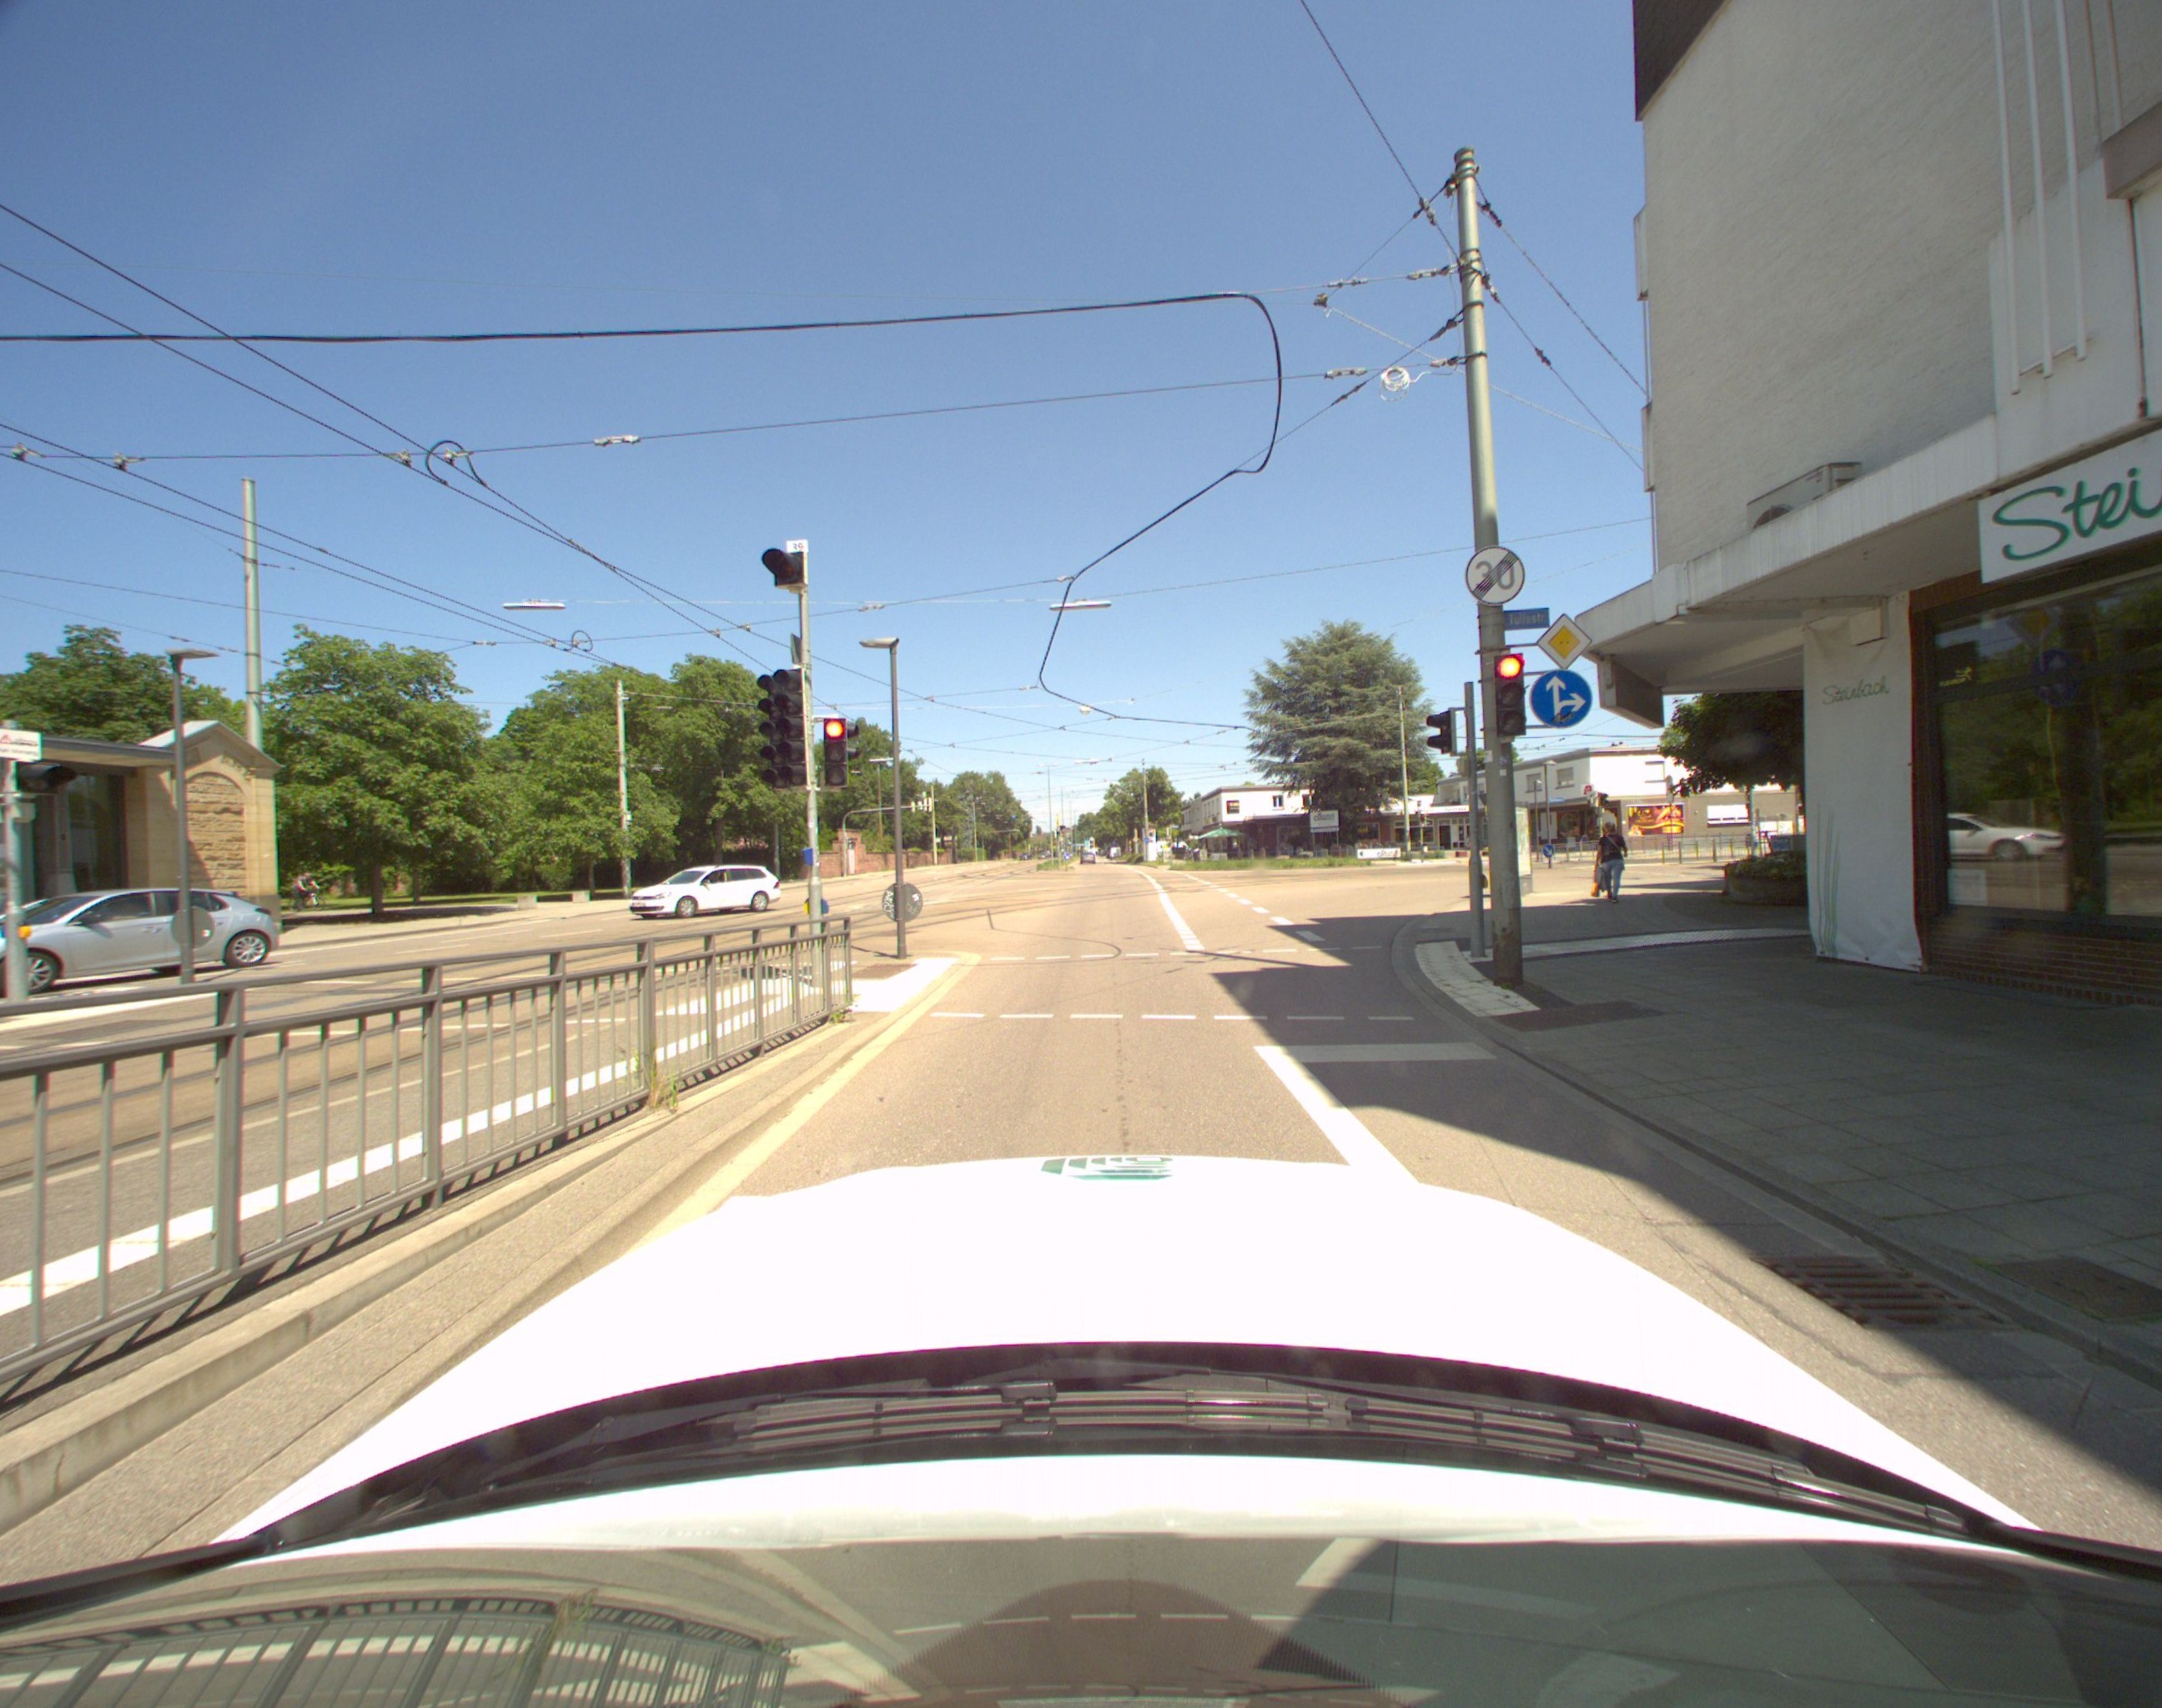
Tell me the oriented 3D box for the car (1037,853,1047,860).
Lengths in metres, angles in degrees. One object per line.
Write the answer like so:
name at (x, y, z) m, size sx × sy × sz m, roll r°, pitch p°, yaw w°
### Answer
car at (-8.525, 0.476, 177.567) m, size 1.634 × 1.421 × 4.171 m, roll -2°, pitch 0°, yaw 3°

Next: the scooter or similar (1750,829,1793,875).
scooter or similar at (18.735, -0.064, 22.089) m, size 1.258 × 1.212 × 0.391 m, roll -2°, pitch 0°, yaw -26°

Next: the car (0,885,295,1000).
car at (-15.103, 1.279, 12.491) m, size 1.807 × 1.362 × 4.061 m, roll -2°, pitch 0°, yaw 9°

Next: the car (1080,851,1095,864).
car at (0.775, 0.397, 96.418) m, size 1.632 × 1.351 × 3.839 m, roll -2°, pitch 0°, yaw -2°

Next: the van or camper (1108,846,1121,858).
van or camper at (5.376, -0.338, 130.468) m, size 1.915 × 1.772 × 4.001 m, roll -2°, pitch 0°, yaw 2°

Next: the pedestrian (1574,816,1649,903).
pedestrian at (10.419, 0.107, 16.034) m, size 0.822 × 1.583 × 0.828 m, roll -6°, pitch -1°, yaw 7°

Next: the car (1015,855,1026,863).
car at (-12.356, 0.956, 166.625) m, size 1.813 × 1.603 × 4.522 m, roll -2°, pitch 0°, yaw 2°

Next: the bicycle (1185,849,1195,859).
bicycle at (11.314, 0.005, 84.410) m, size 1.028 × 1.014 × 2.643 m, roll -2°, pitch 0°, yaw 8°

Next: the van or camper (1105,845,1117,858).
van or camper at (5.603, -0.489, 152.949) m, size 1.988 × 2.464 × 3.998 m, roll -2°, pitch 0°, yaw -2°

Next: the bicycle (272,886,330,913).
bicycle at (-33.758, 1.967, 35.245) m, size 2.082 × 1.041 × 0.720 m, roll -2°, pitch 0°, yaw 12°

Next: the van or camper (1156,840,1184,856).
van or camper at (15.641, -1.056, 143.260) m, size 4.742 × 2.671 × 2.135 m, roll -2°, pitch 0°, yaw -1°

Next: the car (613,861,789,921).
car at (-11.192, 1.036, 24.339) m, size 1.801 × 1.489 × 4.527 m, roll -2°, pitch 0°, yaw 28°

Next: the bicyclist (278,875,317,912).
bicyclist at (-33.924, 1.698, 35.276) m, size 0.837 × 1.530 × 0.856 m, roll -2°, pitch 0°, yaw 11°
